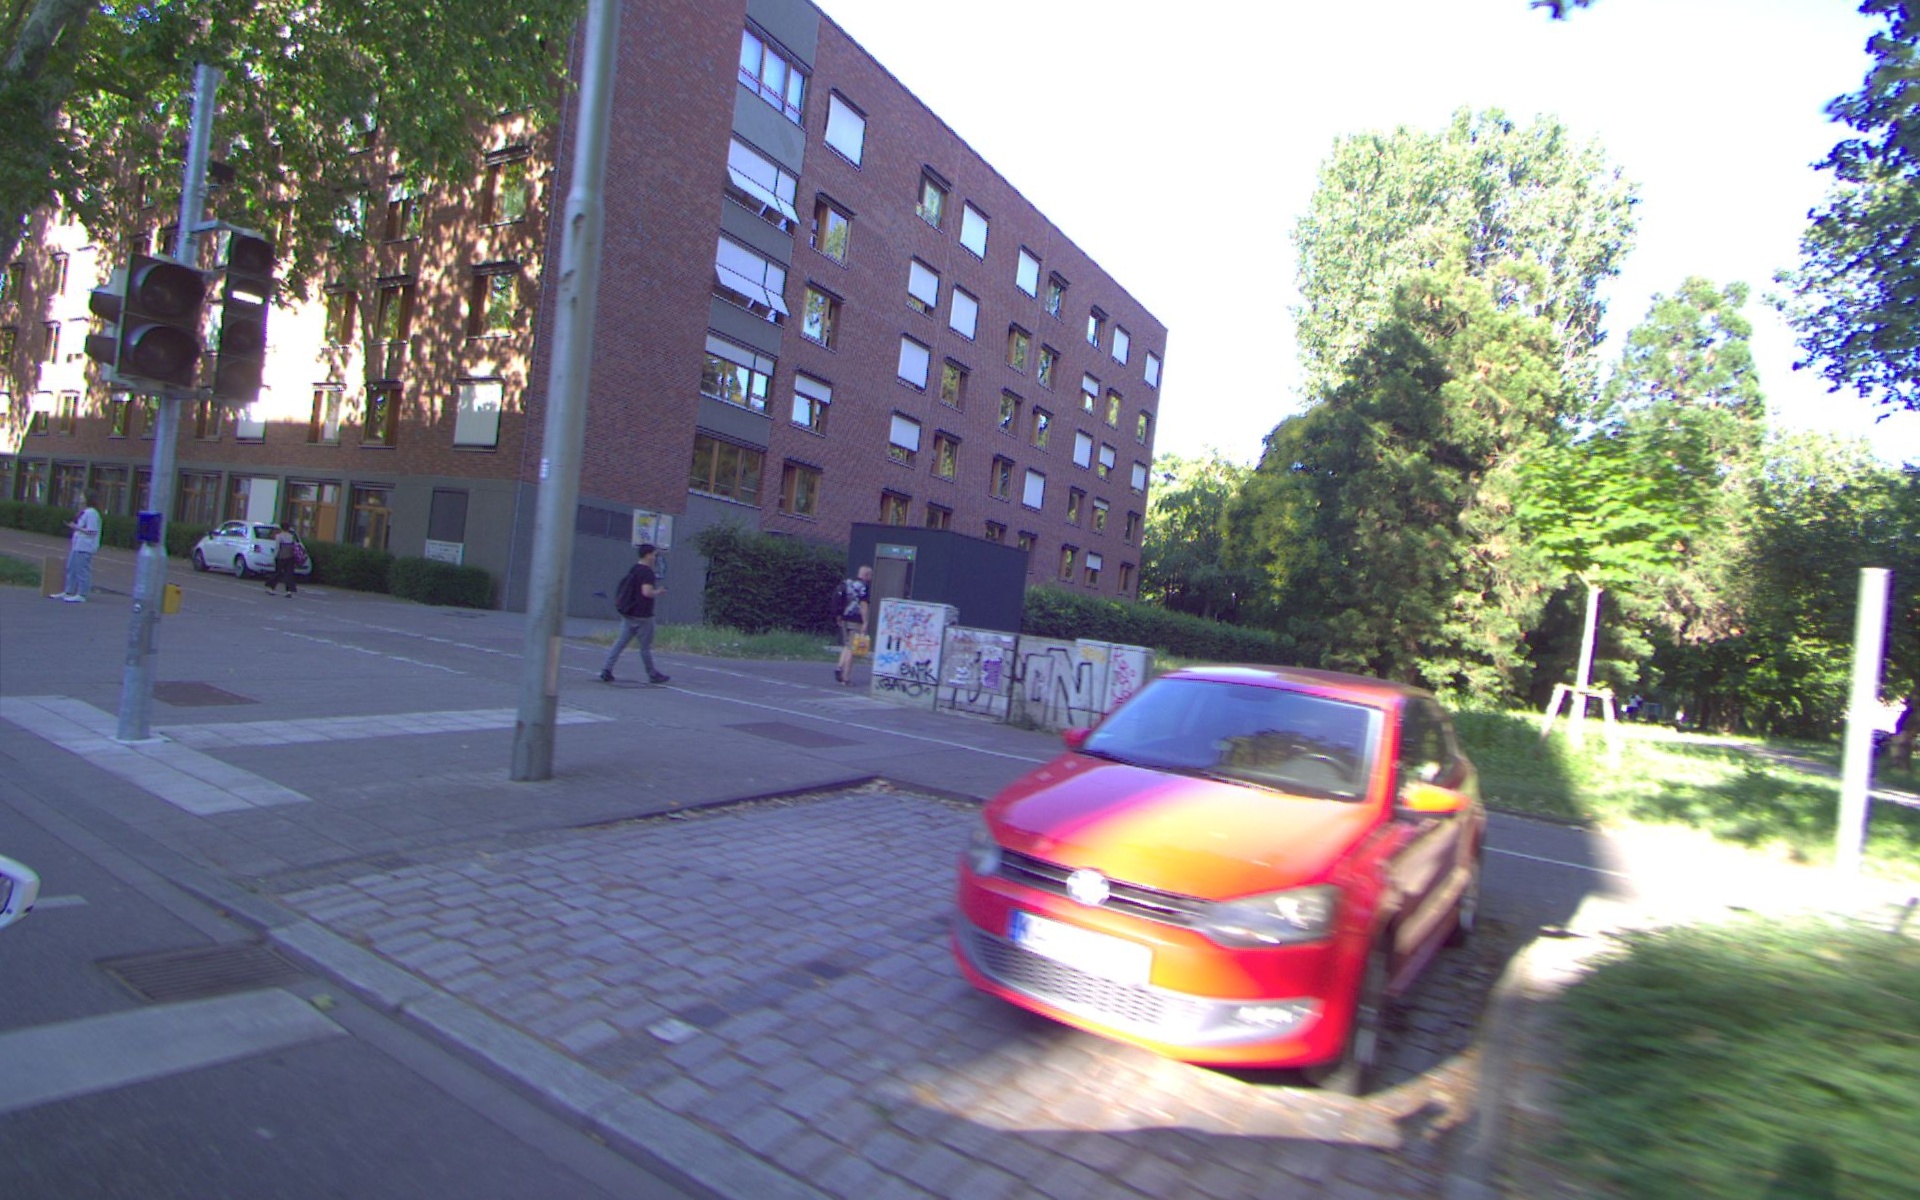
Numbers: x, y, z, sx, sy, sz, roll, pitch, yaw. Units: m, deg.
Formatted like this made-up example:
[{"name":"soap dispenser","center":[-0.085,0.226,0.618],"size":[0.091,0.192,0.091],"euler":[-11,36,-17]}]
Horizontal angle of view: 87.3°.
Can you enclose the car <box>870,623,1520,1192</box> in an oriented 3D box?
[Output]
[{"name":"car","center":[1.500,1.036,4.894],"size":[1.622,1.440,3.887],"euler":[7,-1,35]}]

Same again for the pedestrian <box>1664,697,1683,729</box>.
[{"name":"pedestrian","center":[39.226,6.212,55.317],"size":[0.639,1.682,0.648],"euler":[7,1,32]}]

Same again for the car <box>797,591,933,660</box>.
[{"name":"car","center":[-2.747,0.803,29.961],"size":[1.764,1.583,3.991],"euler":[7,-1,34]}]

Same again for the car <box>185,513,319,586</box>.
[{"name":"car","center":[-18.914,-1.351,26.857],"size":[3.360,1.513,1.603],"euler":[7,0,31]}]

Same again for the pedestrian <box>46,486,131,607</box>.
[{"name":"pedestrian","center":[-13.003,-0.790,15.013],"size":[0.726,1.689,0.653],"euler":[7,1,32]}]

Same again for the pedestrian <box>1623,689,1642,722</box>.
[{"name":"pedestrian","center":[36.686,5.749,54.892],"size":[0.639,1.682,0.648],"euler":[7,1,32]}]

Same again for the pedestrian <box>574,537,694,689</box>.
[{"name":"pedestrian","center":[-4.232,0.185,13.100],"size":[0.849,1.833,0.996],"euler":[7,1,27]}]

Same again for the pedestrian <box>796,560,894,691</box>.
[{"name":"pedestrian","center":[-1.794,0.386,15.769],"size":[0.998,1.889,0.983],"euler":[7,4,27]}]

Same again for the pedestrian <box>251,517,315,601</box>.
[{"name":"pedestrian","center":[-14.746,-0.892,21.919],"size":[0.821,1.689,0.736],"euler":[7,0,32]}]
